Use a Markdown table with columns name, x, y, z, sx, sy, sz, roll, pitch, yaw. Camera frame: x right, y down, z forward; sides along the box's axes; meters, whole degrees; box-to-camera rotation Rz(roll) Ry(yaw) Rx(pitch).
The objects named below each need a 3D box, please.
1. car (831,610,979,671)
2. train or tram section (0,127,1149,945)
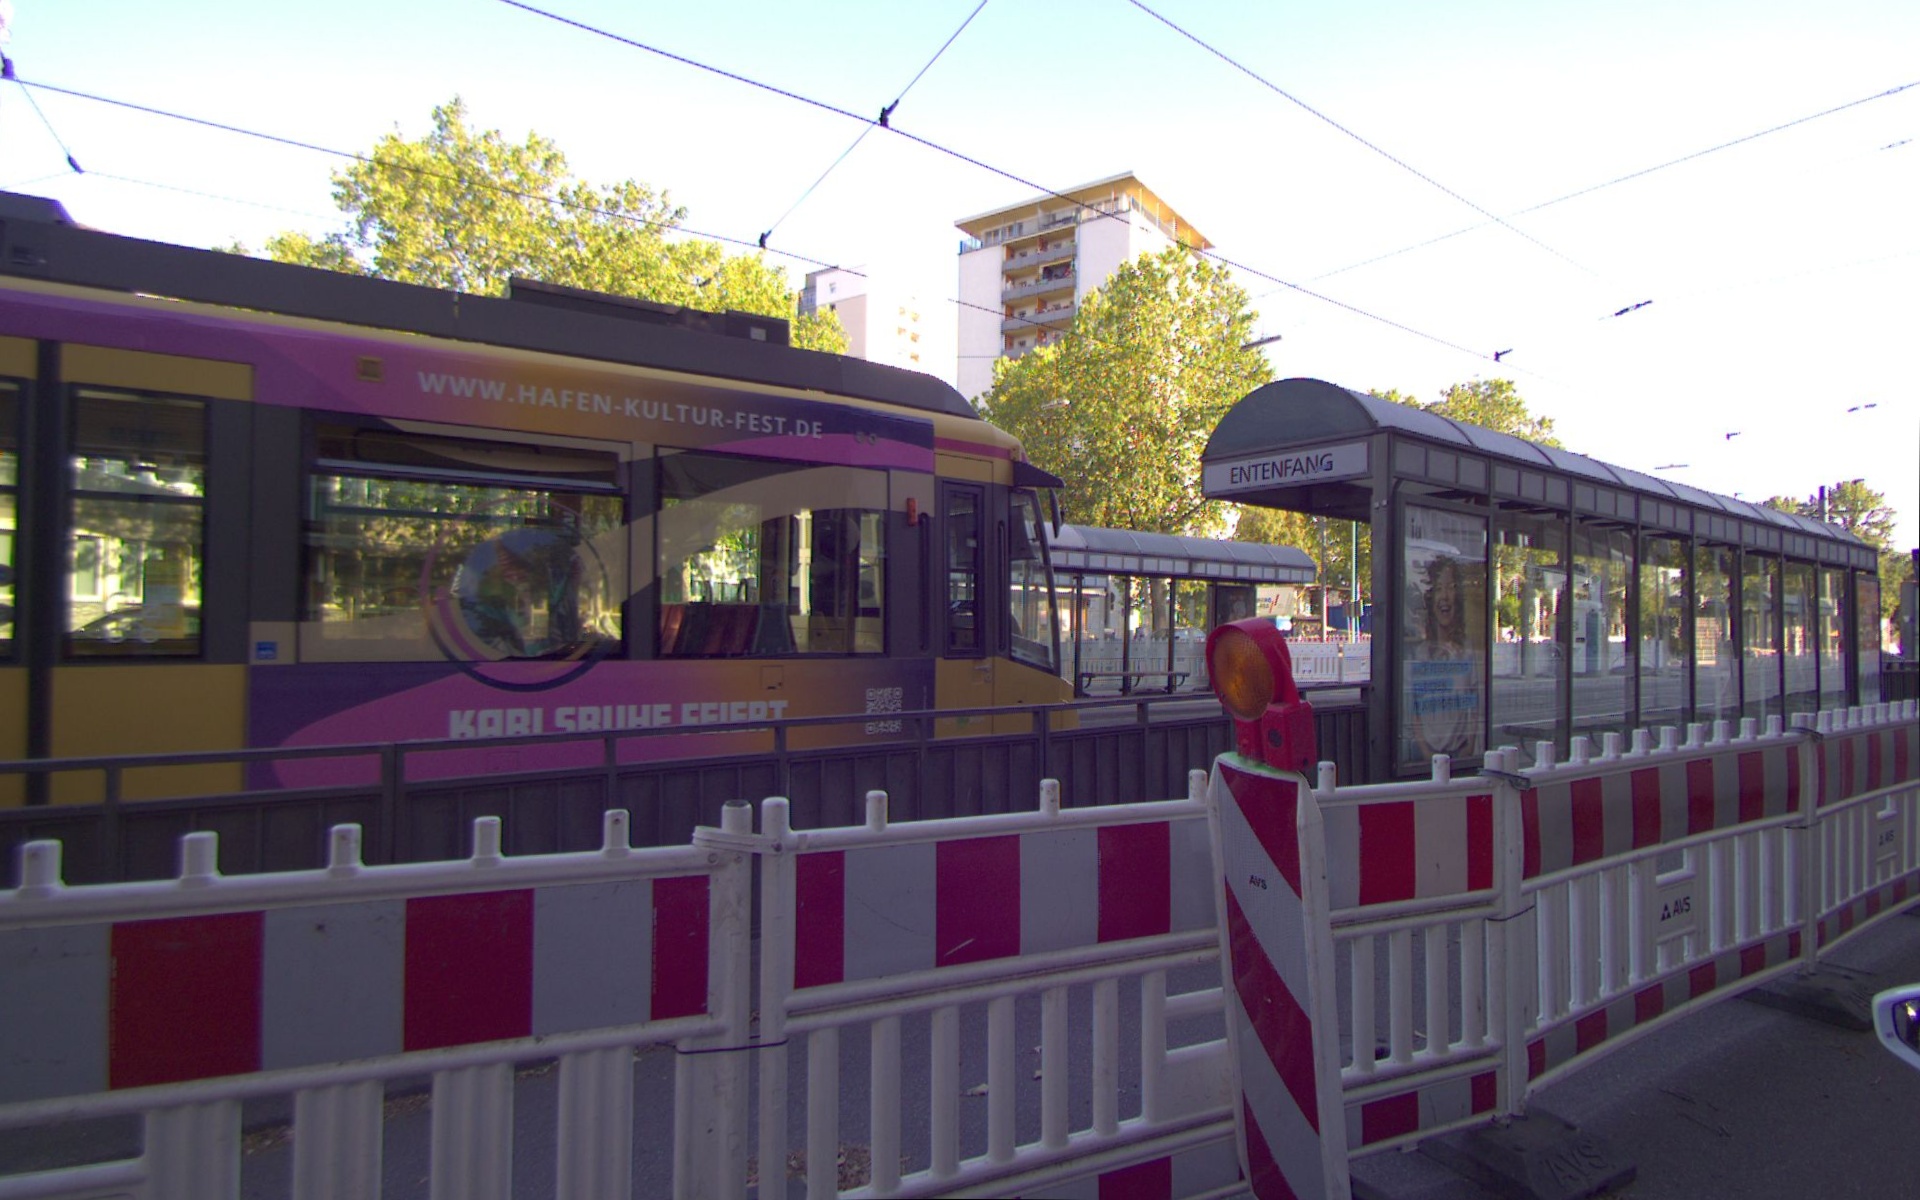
| name | x | y | z | sx | sy | sz | roll | pitch | yaw |
| --- | --- | --- | --- | --- | --- | --- | --- | --- | --- |
| car | -1.461 | 1.084 | 27.287 | 3.740 | 1.532 | 1.646 | 2 | -2 | -38 |
| train or tram section | -3.564 | -0.222 | 6.378 | 10.225 | 3.533 | 2.801 | 2 | -1 | -32 |
